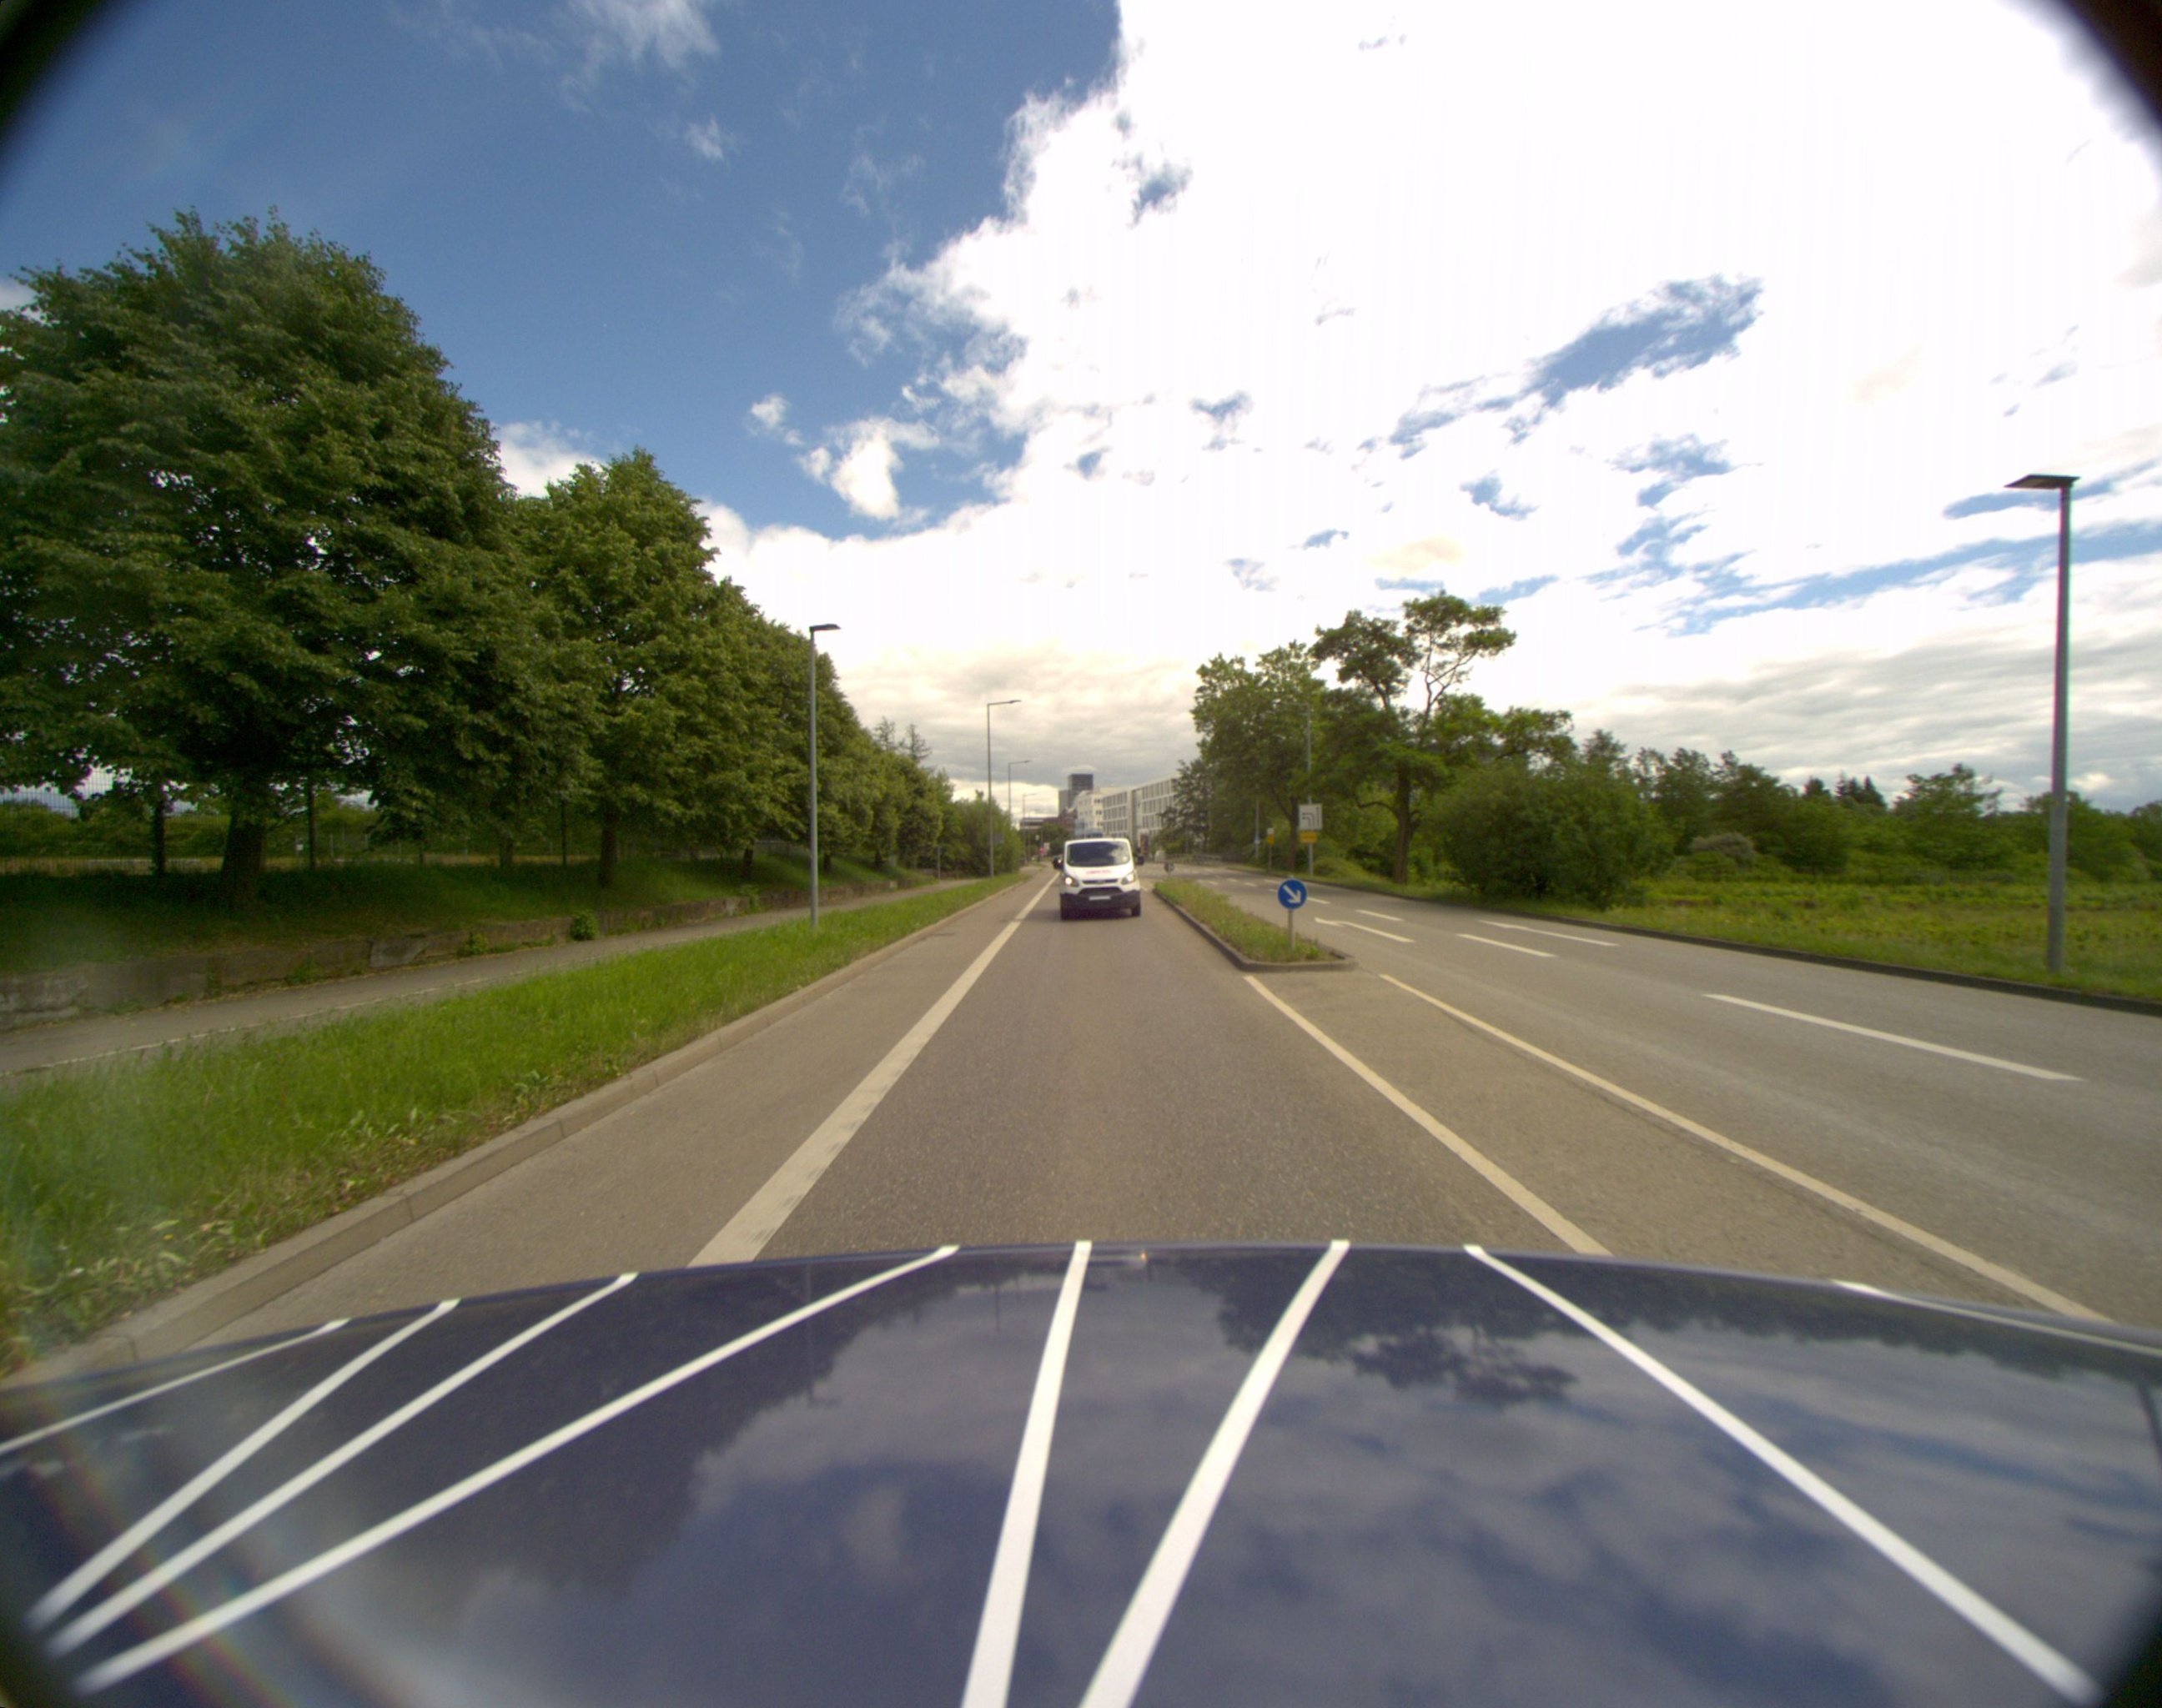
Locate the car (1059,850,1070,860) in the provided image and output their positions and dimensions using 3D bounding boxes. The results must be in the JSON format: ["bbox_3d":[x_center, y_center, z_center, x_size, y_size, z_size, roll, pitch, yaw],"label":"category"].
[{"bbox_3d":[-3.057,0.179,140.899,1.873,1.685,4.369,-2,0,-4],"label":"car"}]

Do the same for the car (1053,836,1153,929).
[{"bbox_3d":[0.443,0.602,19.618,2.122,1.963,6.205,-2,0,-1],"label":"car"}]

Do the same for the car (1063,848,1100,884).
[{"bbox_3d":[0.034,0.600,41.914,1.872,1.836,4.371,-2,0,0],"label":"car"}]

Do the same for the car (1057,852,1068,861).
[{"bbox_3d":[-3.647,0.484,149.878,1.873,1.685,4.370,-2,0,-3],"label":"car"}]
